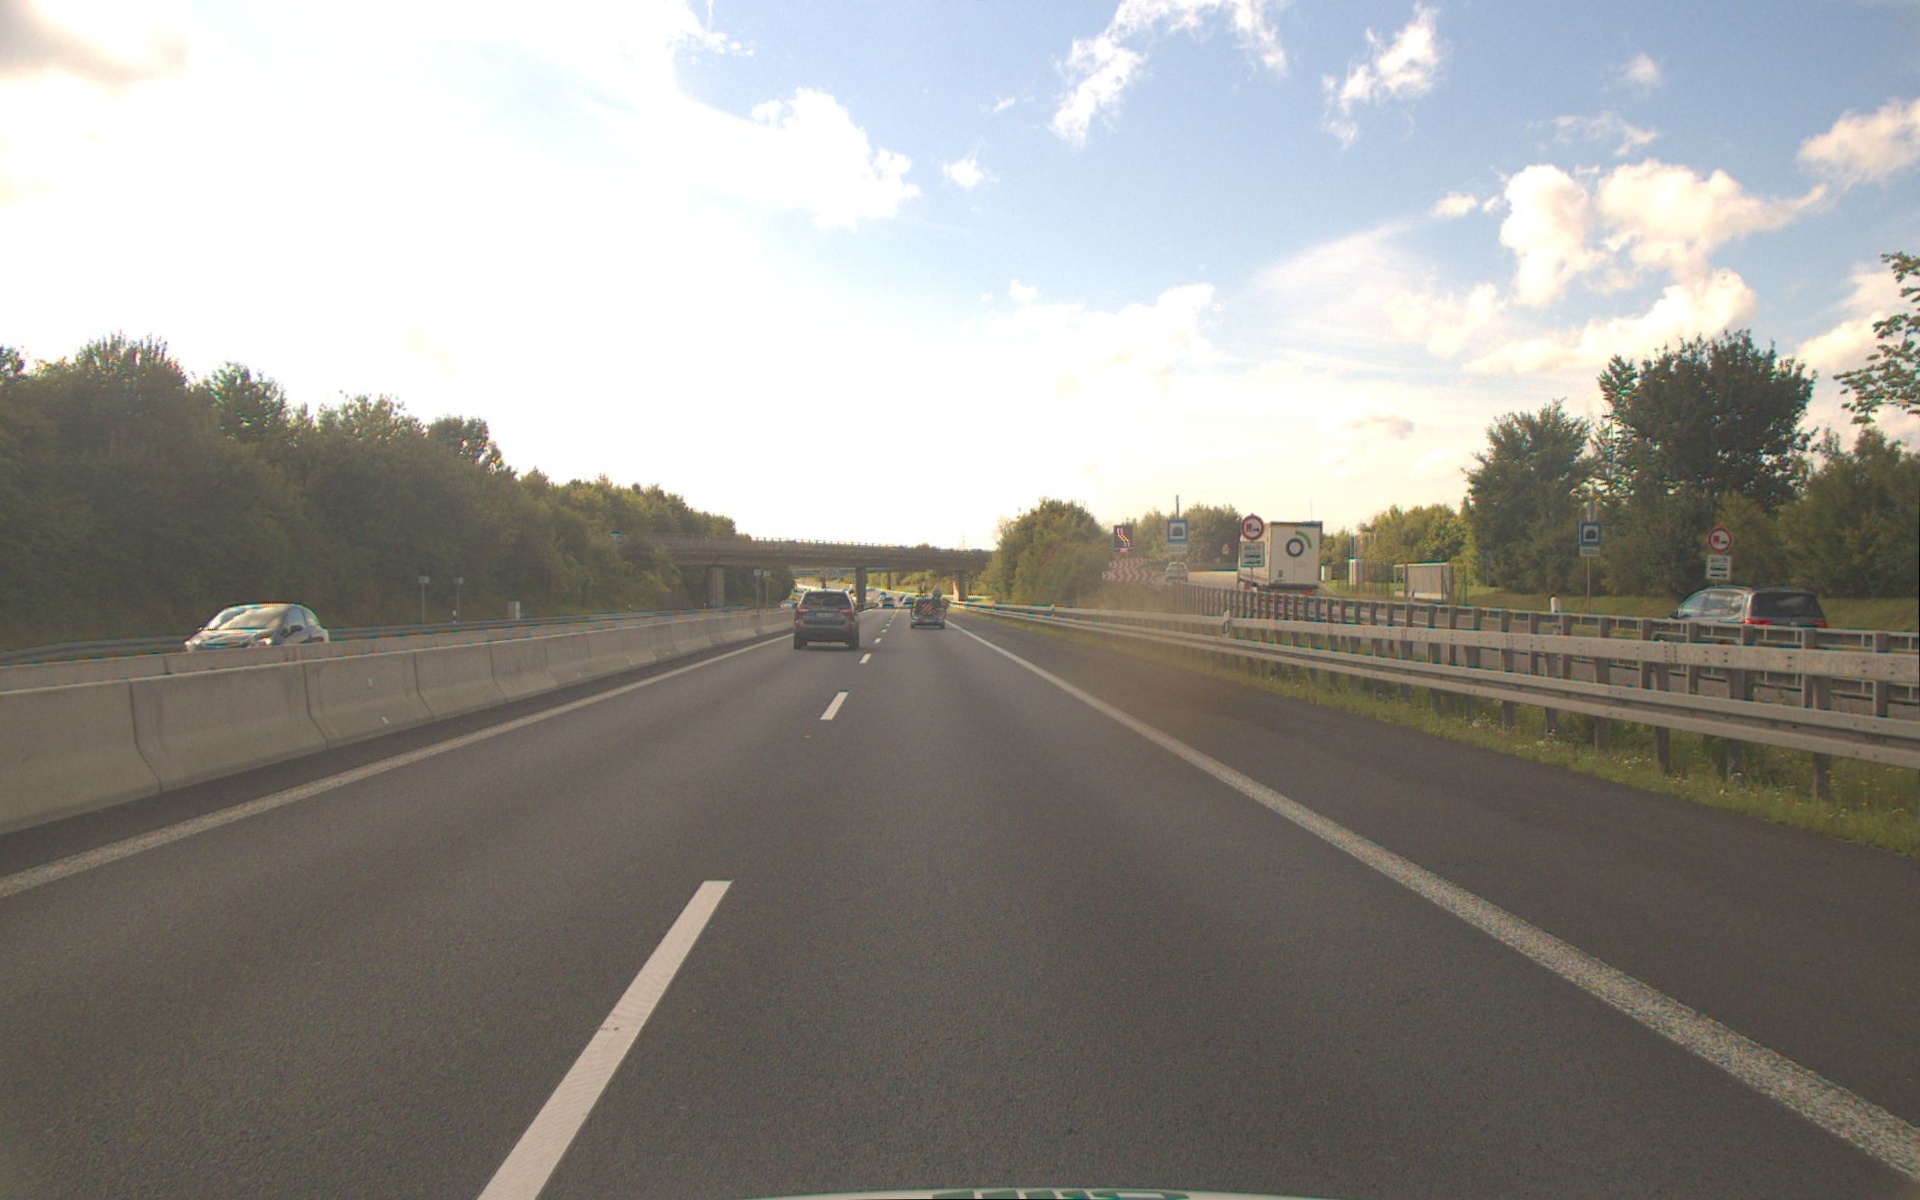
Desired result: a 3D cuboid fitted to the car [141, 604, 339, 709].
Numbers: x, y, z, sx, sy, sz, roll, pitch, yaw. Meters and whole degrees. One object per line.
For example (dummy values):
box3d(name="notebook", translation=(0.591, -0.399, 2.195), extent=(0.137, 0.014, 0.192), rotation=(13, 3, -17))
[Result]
box3d(name="car", translation=(-13.153, 0.977, 30.498), extent=(1.953, 1.747, 3.999), rotation=(-2, 0, -2))

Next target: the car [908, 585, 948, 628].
box3d(name="car", translation=(-1.670, 0.320, 84.644), extent=(1.953, 2.117, 3.999), rotation=(-2, 0, -2))

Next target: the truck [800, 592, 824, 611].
box3d(name="truck", translation=(-17.065, 0.146, 191.067), extent=(2.328, 2.049, 7.433), rotation=(-2, 0, -2))

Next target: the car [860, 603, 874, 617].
box3d(name="car", translation=(-14.134, 1.466, 250.790), extent=(1.953, 2.049, 3.998), rotation=(-2, 0, -2))

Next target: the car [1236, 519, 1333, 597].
box3d(name="car", translation=(16.809, -2.096, 86.176), extent=(3.503, 3.741, 7.548), rotation=(-2, 0, 0))

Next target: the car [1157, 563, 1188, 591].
box3d(name="car", translation=(16.350, -1.733, 127.237), extent=(1.952, 2.049, 4.001), rotation=(-2, 0, 2))

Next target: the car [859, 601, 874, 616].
box3d(name="car", translation=(-13.028, 1.192, 229.655), extent=(1.953, 2.049, 3.998), rotation=(-2, 0, -2))

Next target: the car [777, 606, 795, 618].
box3d(name="car", translation=(-22.431, 1.517, 213.035), extent=(1.953, 1.461, 4.722), rotation=(-2, 0, -2))

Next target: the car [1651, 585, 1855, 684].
box3d(name="car", translation=(15.323, 0.631, 32.215), extent=(1.953, 1.747, 3.999), rotation=(-2, 0, -2))

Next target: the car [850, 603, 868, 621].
box3d(name="car", translation=(-11.543, 1.382, 189.096), extent=(1.953, 2.049, 3.998), rotation=(-2, 0, -2))

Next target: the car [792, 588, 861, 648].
box3d(name="car", translation=(-3.880, 0.507, 48.522), extent=(1.714, 1.659, 3.608), rotation=(-2, 0, 0))
